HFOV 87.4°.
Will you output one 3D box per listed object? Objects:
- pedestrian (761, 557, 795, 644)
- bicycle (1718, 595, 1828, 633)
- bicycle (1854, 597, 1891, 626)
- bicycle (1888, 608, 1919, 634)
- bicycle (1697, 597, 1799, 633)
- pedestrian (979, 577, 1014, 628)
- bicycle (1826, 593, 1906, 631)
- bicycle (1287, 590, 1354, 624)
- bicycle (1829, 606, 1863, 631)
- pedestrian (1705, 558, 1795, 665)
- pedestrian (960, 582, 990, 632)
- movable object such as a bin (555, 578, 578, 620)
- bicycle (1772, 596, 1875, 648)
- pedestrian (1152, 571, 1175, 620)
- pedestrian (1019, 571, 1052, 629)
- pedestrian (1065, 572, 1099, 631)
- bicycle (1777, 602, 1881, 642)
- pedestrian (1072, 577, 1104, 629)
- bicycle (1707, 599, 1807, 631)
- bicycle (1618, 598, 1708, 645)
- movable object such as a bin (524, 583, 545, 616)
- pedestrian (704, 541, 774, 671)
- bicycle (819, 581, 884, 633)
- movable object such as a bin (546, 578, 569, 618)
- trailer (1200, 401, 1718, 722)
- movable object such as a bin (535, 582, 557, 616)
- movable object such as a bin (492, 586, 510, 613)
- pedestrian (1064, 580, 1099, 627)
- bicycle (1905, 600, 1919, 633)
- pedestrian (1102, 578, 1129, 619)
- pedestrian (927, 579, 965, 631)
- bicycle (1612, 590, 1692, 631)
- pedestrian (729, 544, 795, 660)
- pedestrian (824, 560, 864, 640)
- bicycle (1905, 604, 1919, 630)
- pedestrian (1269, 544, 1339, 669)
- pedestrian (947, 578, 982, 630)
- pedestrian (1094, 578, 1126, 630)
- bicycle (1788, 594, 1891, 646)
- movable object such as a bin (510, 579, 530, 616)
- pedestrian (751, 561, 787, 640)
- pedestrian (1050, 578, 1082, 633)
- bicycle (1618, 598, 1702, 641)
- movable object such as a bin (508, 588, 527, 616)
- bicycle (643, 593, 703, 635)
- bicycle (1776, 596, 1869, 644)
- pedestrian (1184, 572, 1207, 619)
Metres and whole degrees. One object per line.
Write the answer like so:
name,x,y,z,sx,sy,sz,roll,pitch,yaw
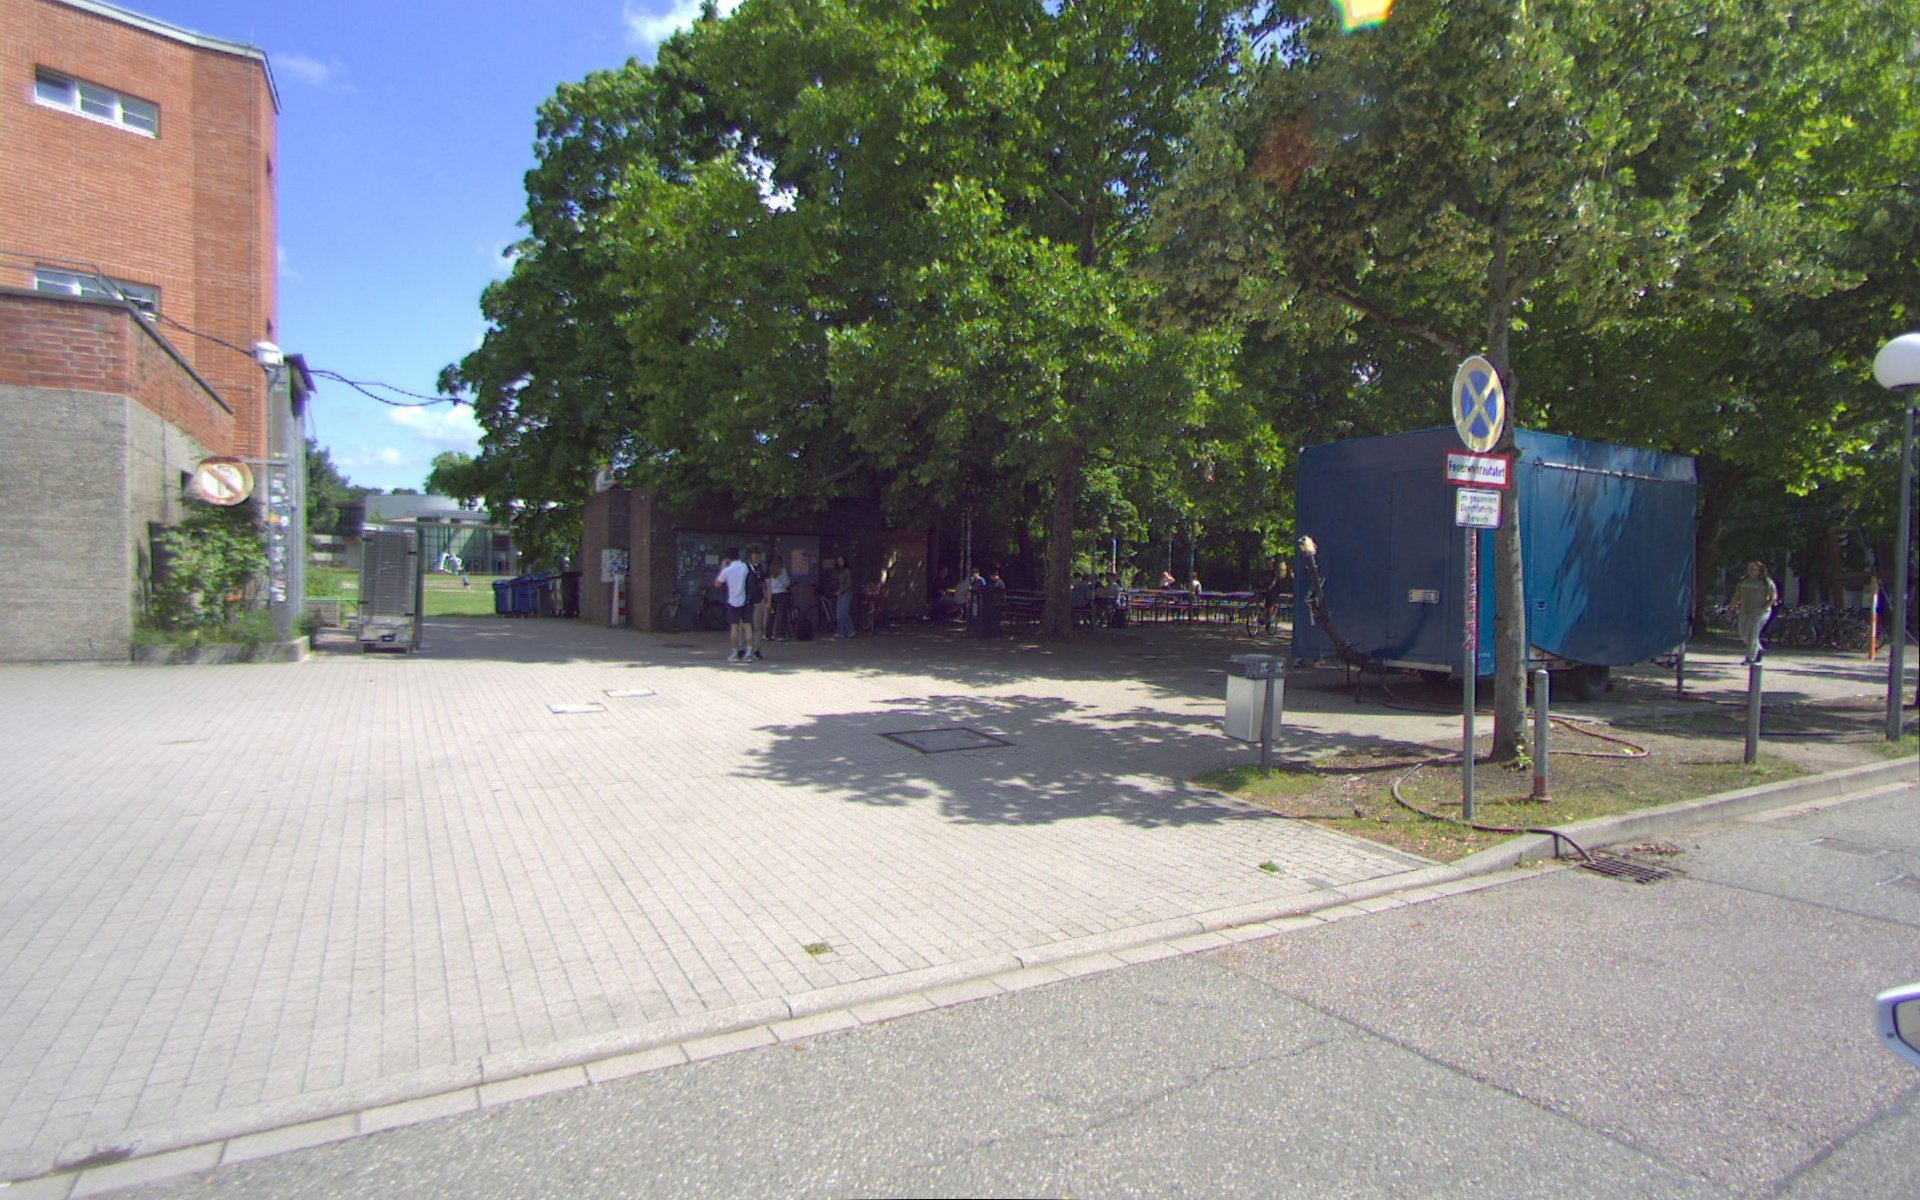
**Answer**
pedestrian,-3.694,0.002,20.376,0.520,1.734,0.448,2,3,16
bicycle,28.705,0.481,35.517,2.850,1.237,0.882,2,2,18
bicycle,41.123,0.514,45.259,2.353,1.270,0.523,0,1,-30
bicycle,41.915,0.909,44.528,1.950,1.101,0.549,1,3,-31
bicycle,29.440,0.555,37.588,2.826,1.194,0.882,2,2,18
pedestrian,0.952,0.068,26.102,0.685,1.288,0.557,0,2,-30
bicycle,36.501,0.468,40.514,2.248,1.469,0.606,2,2,27
bicycle,11.492,0.199,32.073,0.579,1.021,1.992,0,1,-38
bicycle,40.909,0.871,46.390,1.950,1.101,0.549,1,3,-31
pedestrian,15.133,0.207,19.254,0.878,1.981,0.916,1,3,-20
pedestrian,0.394,0.179,27.140,0.552,1.341,0.642,0,1,-29
movable object such as a bin,-11.055,-0.027,28.209,0.515,1.158,0.588,0,2,-32
bicycle,23.124,0.573,26.925,2.031,1.251,0.804,4,3,43
pedestrian,6.601,-0.154,32.522,0.470,1.543,0.501,0,3,-41
pedestrian,1.891,-0.017,25.006,0.584,1.388,0.703,2,4,26
pedestrian,2.975,0.018,24.509,0.584,1.388,0.742,2,4,26
bicycle,24.694,0.621,28.590,2.116,1.022,0.676,3,2,31
pedestrian,3.223,0.070,25.344,0.584,1.250,0.742,2,4,26
bicycle,28.944,0.527,36.520,2.679,1.016,0.882,2,2,18
bicycle,18.142,0.539,25.953,1.832,1.104,0.544,3,3,39
movable object such as a bin,-13.349,-0.031,31.532,0.527,1.016,0.491,0,2,-32
pedestrian,-3.252,0.090,14.836,0.863,1.844,0.449,3,0,-2
bicycle,-2.412,0.149,22.321,1.323,1.091,0.417,3,0,16
movable object such as a bin,-11.844,-0.065,29.571,0.515,1.158,0.588,0,2,-32
trailer,6.230,-0.393,12.352,6.193,3.067,2.683,1,2,-31
movable object such as a bin,-12.539,-0.029,30.400,0.515,1.025,0.588,0,2,-32
movable object such as a bin,-16.308,-0.005,35.655,0.527,0.930,0.491,0,2,-32
pedestrian,3.393,0.083,28.037,0.761,1.267,0.563,0,3,-42
bicycle,38.534,0.655,39.429,1.984,1.270,0.586,1,1,28
pedestrian,4.695,-0.034,30.257,0.724,1.210,0.388,0,3,-40
pedestrian,-0.372,0.138,26.485,0.769,1.341,0.684,0,1,-29
bicycle,22.832,0.319,33.180,2.021,1.251,0.639,2,3,25
pedestrian,-3.087,0.031,15.718,0.863,1.743,0.489,3,0,-2
pedestrian,-2.464,-0.012,21.341,0.665,1.673,0.503,3,3,21
bicycle,40.447,0.722,42.247,1.828,1.046,0.473,1,2,-30
pedestrian,5.326,0.073,15.527,0.838,1.860,0.876,2,4,29
pedestrian,0.119,0.096,25.621,0.685,1.288,0.557,0,2,-30
pedestrian,3.750,0.094,25.031,0.584,1.250,0.742,2,4,26
bicycle,24.092,0.524,27.542,2.031,1.251,0.804,5,4,43
movable object such as a bin,-14.425,-0.079,32.916,0.527,1.216,0.491,0,2,-32
pedestrian,-3.981,-0.005,20.945,0.594,1.615,0.412,2,3,18
pedestrian,2.663,0.129,25.179,0.534,1.350,0.846,1,1,25
bicycle,19.441,0.526,27.914,1.832,1.104,0.544,3,3,39
movable object such as a bin,-15.065,0.080,34.185,0.527,0.930,0.491,0,2,-32
bicycle,-6.309,0.302,22.090,1.216,0.895,0.302,1,1,-29
bicycle,22.091,0.495,25.760,1.753,1.147,0.456,3,3,43
pedestrian,7.407,-0.151,31.629,0.456,1.442,0.501,0,3,-40
